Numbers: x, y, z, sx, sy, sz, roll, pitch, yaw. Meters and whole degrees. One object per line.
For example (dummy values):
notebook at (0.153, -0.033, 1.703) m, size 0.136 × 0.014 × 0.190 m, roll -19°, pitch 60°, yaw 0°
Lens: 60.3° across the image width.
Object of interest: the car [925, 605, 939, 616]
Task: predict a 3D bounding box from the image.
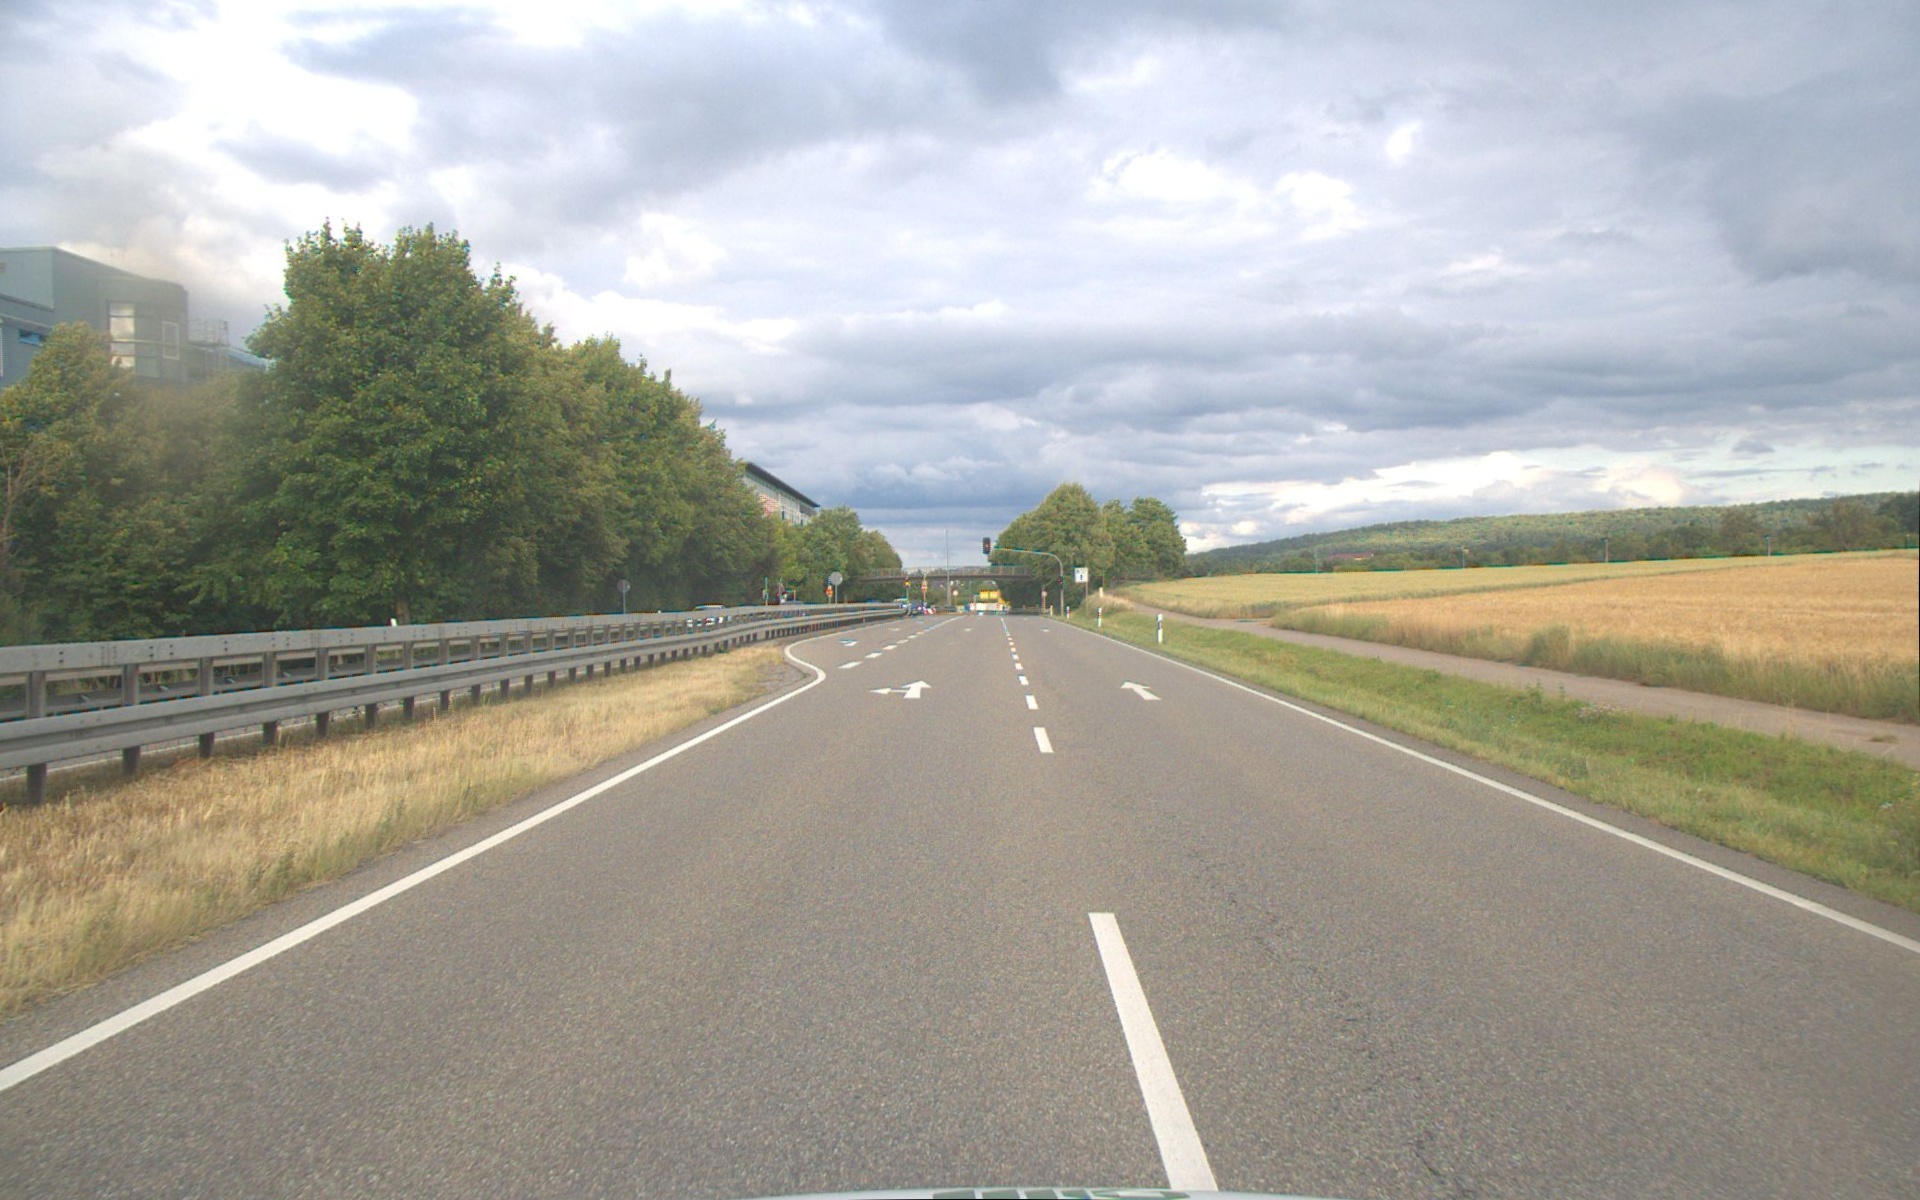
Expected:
car at (-2.994, 1.104, 175.270) m, size 1.329 × 1.111 × 2.922 m, roll -1°, pitch 0°, yaw 2°

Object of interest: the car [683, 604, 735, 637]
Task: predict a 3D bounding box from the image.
car at (-11.944, 0.962, 78.866) m, size 1.723 × 1.437 × 4.459 m, roll -1°, pitch 1°, yaw 0°

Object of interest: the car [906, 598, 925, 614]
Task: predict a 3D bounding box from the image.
car at (-5.381, 0.751, 200.776) m, size 1.952 × 1.906 × 4.737 m, roll -1°, pitch 0°, yaw 1°
